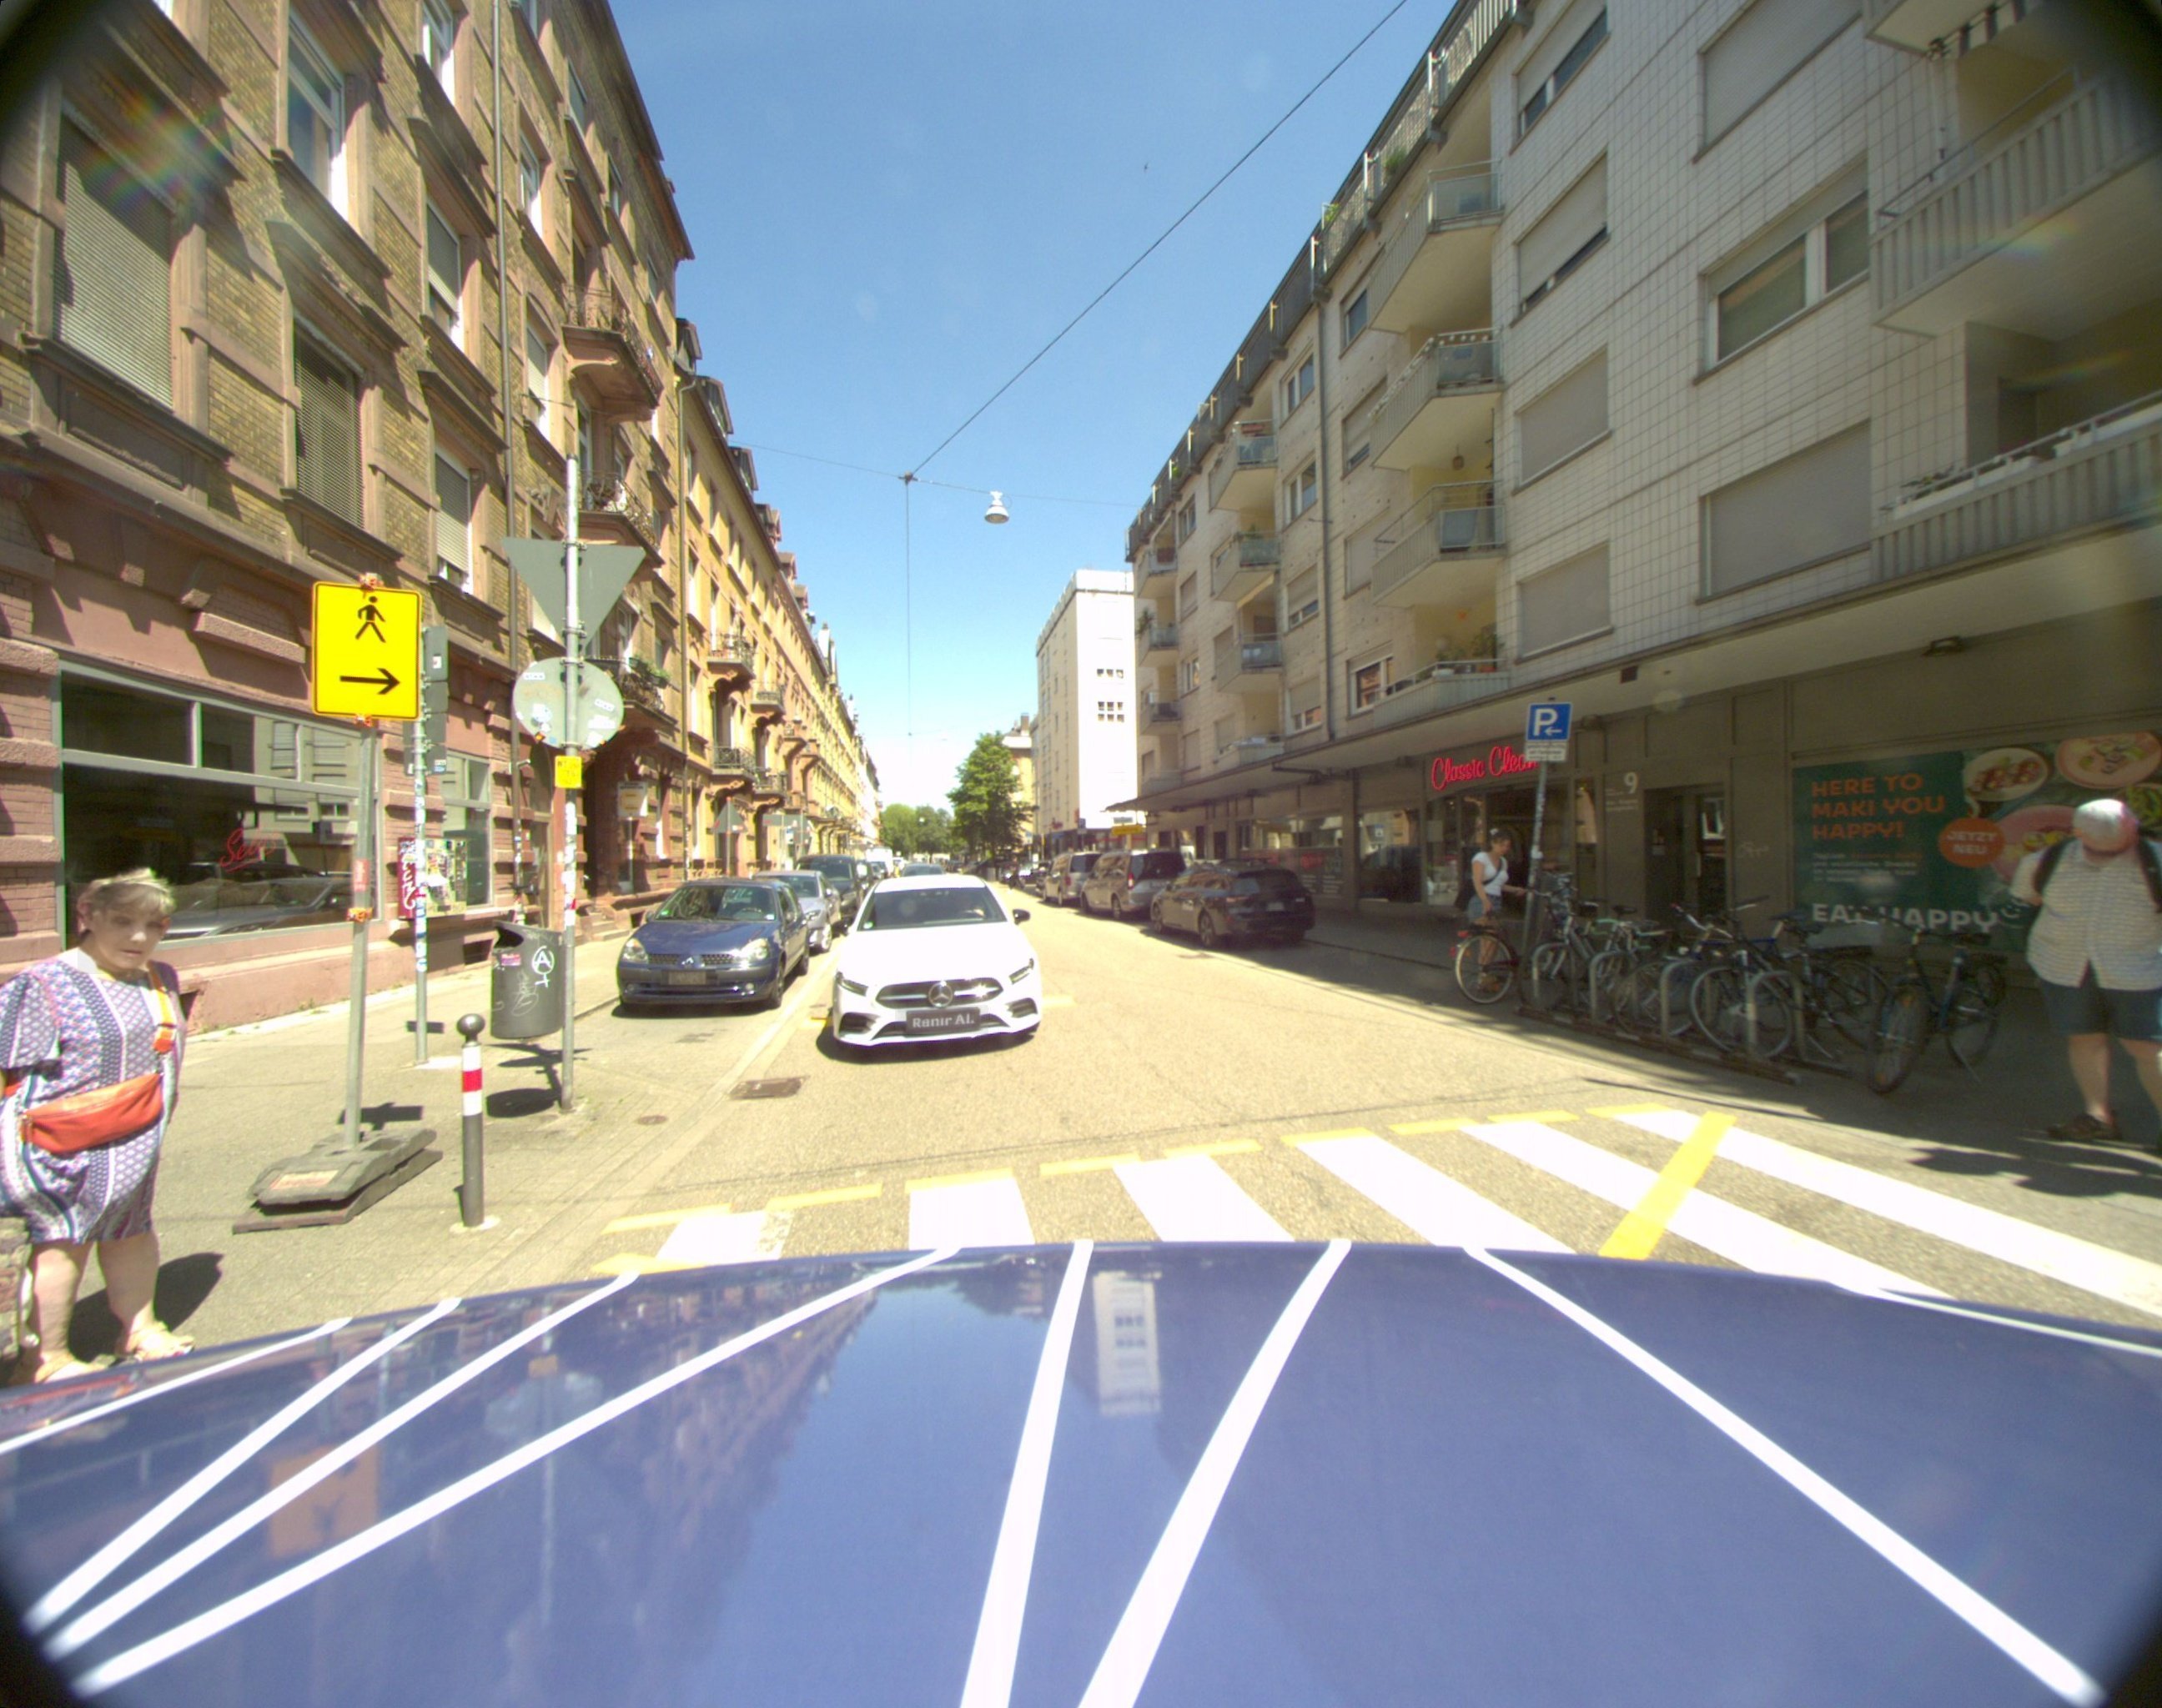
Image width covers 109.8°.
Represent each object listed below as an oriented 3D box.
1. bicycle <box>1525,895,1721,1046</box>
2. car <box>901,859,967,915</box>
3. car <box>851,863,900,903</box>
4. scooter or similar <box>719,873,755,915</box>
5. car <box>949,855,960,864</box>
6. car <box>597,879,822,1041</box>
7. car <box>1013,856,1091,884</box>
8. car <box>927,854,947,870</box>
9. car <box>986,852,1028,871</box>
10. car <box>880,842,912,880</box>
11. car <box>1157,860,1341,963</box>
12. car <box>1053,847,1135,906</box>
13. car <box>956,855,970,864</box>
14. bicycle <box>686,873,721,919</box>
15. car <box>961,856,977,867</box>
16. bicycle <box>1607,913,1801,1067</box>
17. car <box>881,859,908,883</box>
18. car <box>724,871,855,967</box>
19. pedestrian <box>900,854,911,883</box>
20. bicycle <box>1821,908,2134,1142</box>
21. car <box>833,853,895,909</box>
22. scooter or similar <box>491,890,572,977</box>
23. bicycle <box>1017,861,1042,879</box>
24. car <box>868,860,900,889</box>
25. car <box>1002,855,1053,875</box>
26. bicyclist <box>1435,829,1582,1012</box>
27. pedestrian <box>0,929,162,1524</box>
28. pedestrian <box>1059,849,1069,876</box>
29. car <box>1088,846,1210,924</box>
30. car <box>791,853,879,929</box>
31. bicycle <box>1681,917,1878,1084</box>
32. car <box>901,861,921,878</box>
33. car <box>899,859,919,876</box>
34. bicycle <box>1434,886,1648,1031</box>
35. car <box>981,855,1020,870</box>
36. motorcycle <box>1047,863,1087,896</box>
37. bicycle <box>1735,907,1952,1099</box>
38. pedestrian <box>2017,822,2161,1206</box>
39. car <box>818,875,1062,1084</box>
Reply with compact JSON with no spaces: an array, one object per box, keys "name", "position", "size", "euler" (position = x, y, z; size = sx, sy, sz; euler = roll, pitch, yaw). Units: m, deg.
[{"name":"bicycle","position":[4.899,1.009,6.878],"size":[1.589,1.133,0.526],"euler":[-4,1,-16]},{"name":"car","position":[-4.606,0.952,23.755],"size":[1.782,1.460,3.996],"euler":[-3,1,-11]},{"name":"car","position":[-8.540,1.155,31.408],"size":[1.768,1.441,3.899],"euler":[-2,1,-17]},{"name":"scooter or similar","position":[-10.268,1.171,22.745],"size":[0.478,1.146,2.147],"euler":[-2,0,-12]},{"name":"car","position":[-24.952,1.156,150.034],"size":[2.000,1.674,3.996],"euler":[-3,1,-11]},{"name":"car","position":[-4.213,1.074,9.215],"size":[1.633,1.424,3.656],"euler":[0,0,-12]},{"name":"car","position":[-1.623,0.857,41.705],"size":[3.895,1.417,1.812],"euler":[-1,0,-20]},{"name":"car","position":[-13.800,0.738,72.739],"size":[1.750,1.382,3.995],"euler":[-1,0,-13]},{"name":"car","position":[-7.259,0.713,74.038],"size":[3.889,1.737,1.650],"euler":[-1,0,-12]},{"name":"car","position":[-14.189,0.495,58.658],"size":[2.069,2.687,5.033],"euler":[-3,1,-11]},{"name":"car","position":[2.905,0.919,14.227],"size":[1.675,1.516,4.459],"euler":[-2,0,-11]},{"name":"car","position":[0.342,0.743,26.892],"size":[1.795,1.818,4.895],"euler":[-2,0,-11]},{"name":"car","position":[-19.969,0.921,128.239],"size":[2.000,1.505,3.996],"euler":[-3,1,-11]},{"name":"bicycle","position":[-9.818,1.063,19.786],"size":[0.355,1.097,1.754],"euler":[-1,0,-12]},{"name":"car","position":[-16.433,1.099,110.997],"size":[2.000,1.505,3.996],"euler":[-3,1,-11]},{"name":"bicycle","position":[5.049,1.065,6.160],"size":[1.499,1.024,0.397],"euler":[-4,1,-16]},{"name":"car","position":[-12.967,1.117,52.697],"size":[1.683,1.528,3.995],"euler":[-2,1,-14]},{"name":"car","position":[-5.357,1.089,14.516],"size":[1.732,1.424,4.480],"euler":[0,0,-13]},{"name":"pedestrian","position":[-11.644,0.986,50.349],"size":[0.635,1.903,0.370],"euler":[-1,1,-12]},{"name":"bicycle","position":[5.562,0.981,4.714],"size":[1.805,1.116,0.577],"euler":[-3,1,-17]},{"name":"car","position":[-7.450,0.858,26.425],"size":[1.707,1.723,3.996],"euler":[-2,1,-11]},{"name":"scooter or similar","position":[-8.172,1.152,11.349],"size":[0.293,1.170,1.271],"euler":[-2,0,-2]},{"name":"bicycle","position":[-3.445,1.076,50.634],"size":[1.610,1.084,0.371],"euler":[-3,1,-6]},{"name":"car","position":[-10.925,1.115,42.113],"size":[1.604,1.454,3.685],"euler":[-2,1,-14]},{"name":"car","position":[-4.365,0.884,61.761],"size":[3.889,1.520,1.650],"euler":[-1,0,-12]},{"name":"bicyclist","position":[4.434,0.667,7.914],"size":[0.979,1.696,0.624],"euler":[-8,-1,-16]},{"name":"pedestrian","position":[-3.100,0.998,2.130],"size":[0.494,1.534,0.436],"euler":[1,0,-5]},{"name":"pedestrian","position":[-1.322,0.687,60.095],"size":[0.608,2.113,0.496],"euler":[-1,1,24]},{"name":"car","position":[1.681,0.751,20.623],"size":[1.795,1.801,4.693],"euler":[-2,0,-14]},{"name":"car","position":[-6.285,0.858,19.819],"size":[1.831,1.756,4.333],"euler":[0,0,-13]},{"name":"bicycle","position":[5.212,1.057,5.664],"size":[1.453,1.030,0.335],"euler":[-4,1,-16]},{"name":"car","position":[-14.936,1.348,66.770],"size":[1.534,1.293,3.682],"euler":[-2,1,-14]},{"name":"car","position":[-16.756,1.282,73.843],"size":[1.683,1.528,3.995],"euler":[-2,1,-14]},{"name":"bicycle","position":[4.642,1.006,7.668],"size":[1.940,1.085,0.604],"euler":[-8,0,-17]},{"name":"car","position":[-8.417,0.878,79.435],"size":[3.889,1.487,1.650],"euler":[-1,0,-12]},{"name":"motorcycle","position":[-0.568,1.035,30.698],"size":[1.553,1.277,0.394],"euler":[-2,2,21]},{"name":"bicycle","position":[5.315,0.992,5.287],"size":[1.525,1.110,0.335],"euler":[-4,1,-16]},{"name":"pedestrian","position":[5.107,0.710,3.597],"size":[0.658,1.717,0.632],"euler":[-1,1,-14]},{"name":"car","position":[-1.474,1.003,7.927],"size":[1.816,1.417,4.237],"euler":[-1,0,-11]}]
